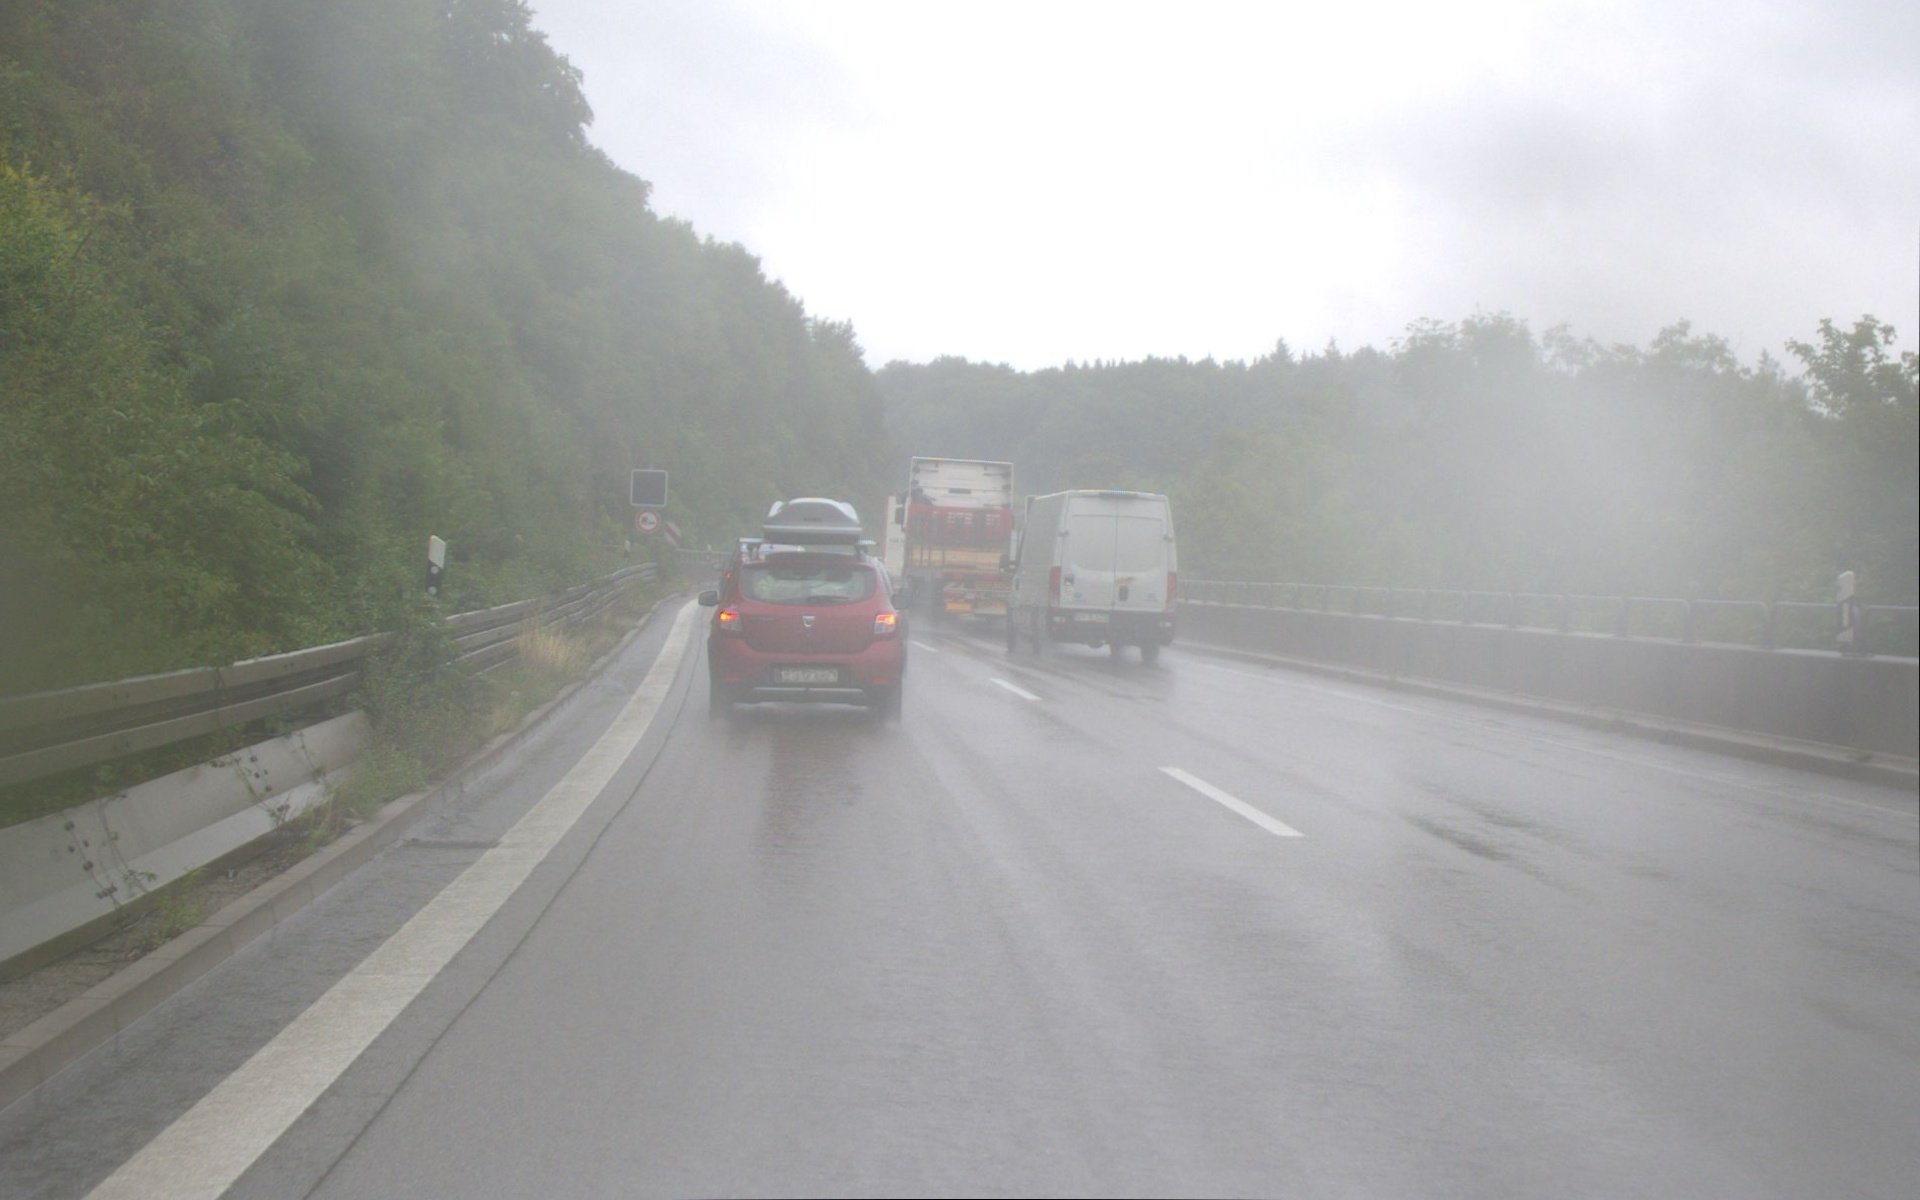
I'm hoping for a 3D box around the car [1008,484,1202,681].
[{"bbox_3d":[2.212,-0.310,54.905,2.206,2.784,7.383,4,1,-3],"label":"car"}]

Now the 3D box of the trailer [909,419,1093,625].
[{"bbox_3d":[0.722,-1.640,75.805,3.218,3.985,13.525,2,1,-2],"label":"trailer"}]

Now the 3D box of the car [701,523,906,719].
[{"bbox_3d":[-1.465,0.171,31.551,1.758,1.679,4.000,0,0,-3],"label":"car"}]

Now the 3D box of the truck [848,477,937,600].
[{"bbox_3d":[-2.709,-2.352,135.106,3.222,4.666,8.301,0,0,-3],"label":"truck"}]

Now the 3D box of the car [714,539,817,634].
[{"bbox_3d":[-3.620,-0.270,63.981,1.823,1.690,4.001,1,1,-3],"label":"car"}]

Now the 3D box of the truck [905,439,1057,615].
[{"bbox_3d":[0.447,-1.725,82.762,3.219,3.964,5.439,2,0,-2],"label":"truck"}]

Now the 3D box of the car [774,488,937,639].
[{"bbox_3d":[-1.212,-0.426,40.910,1.832,1.709,3.645,0,0,-1],"label":"car"}]
